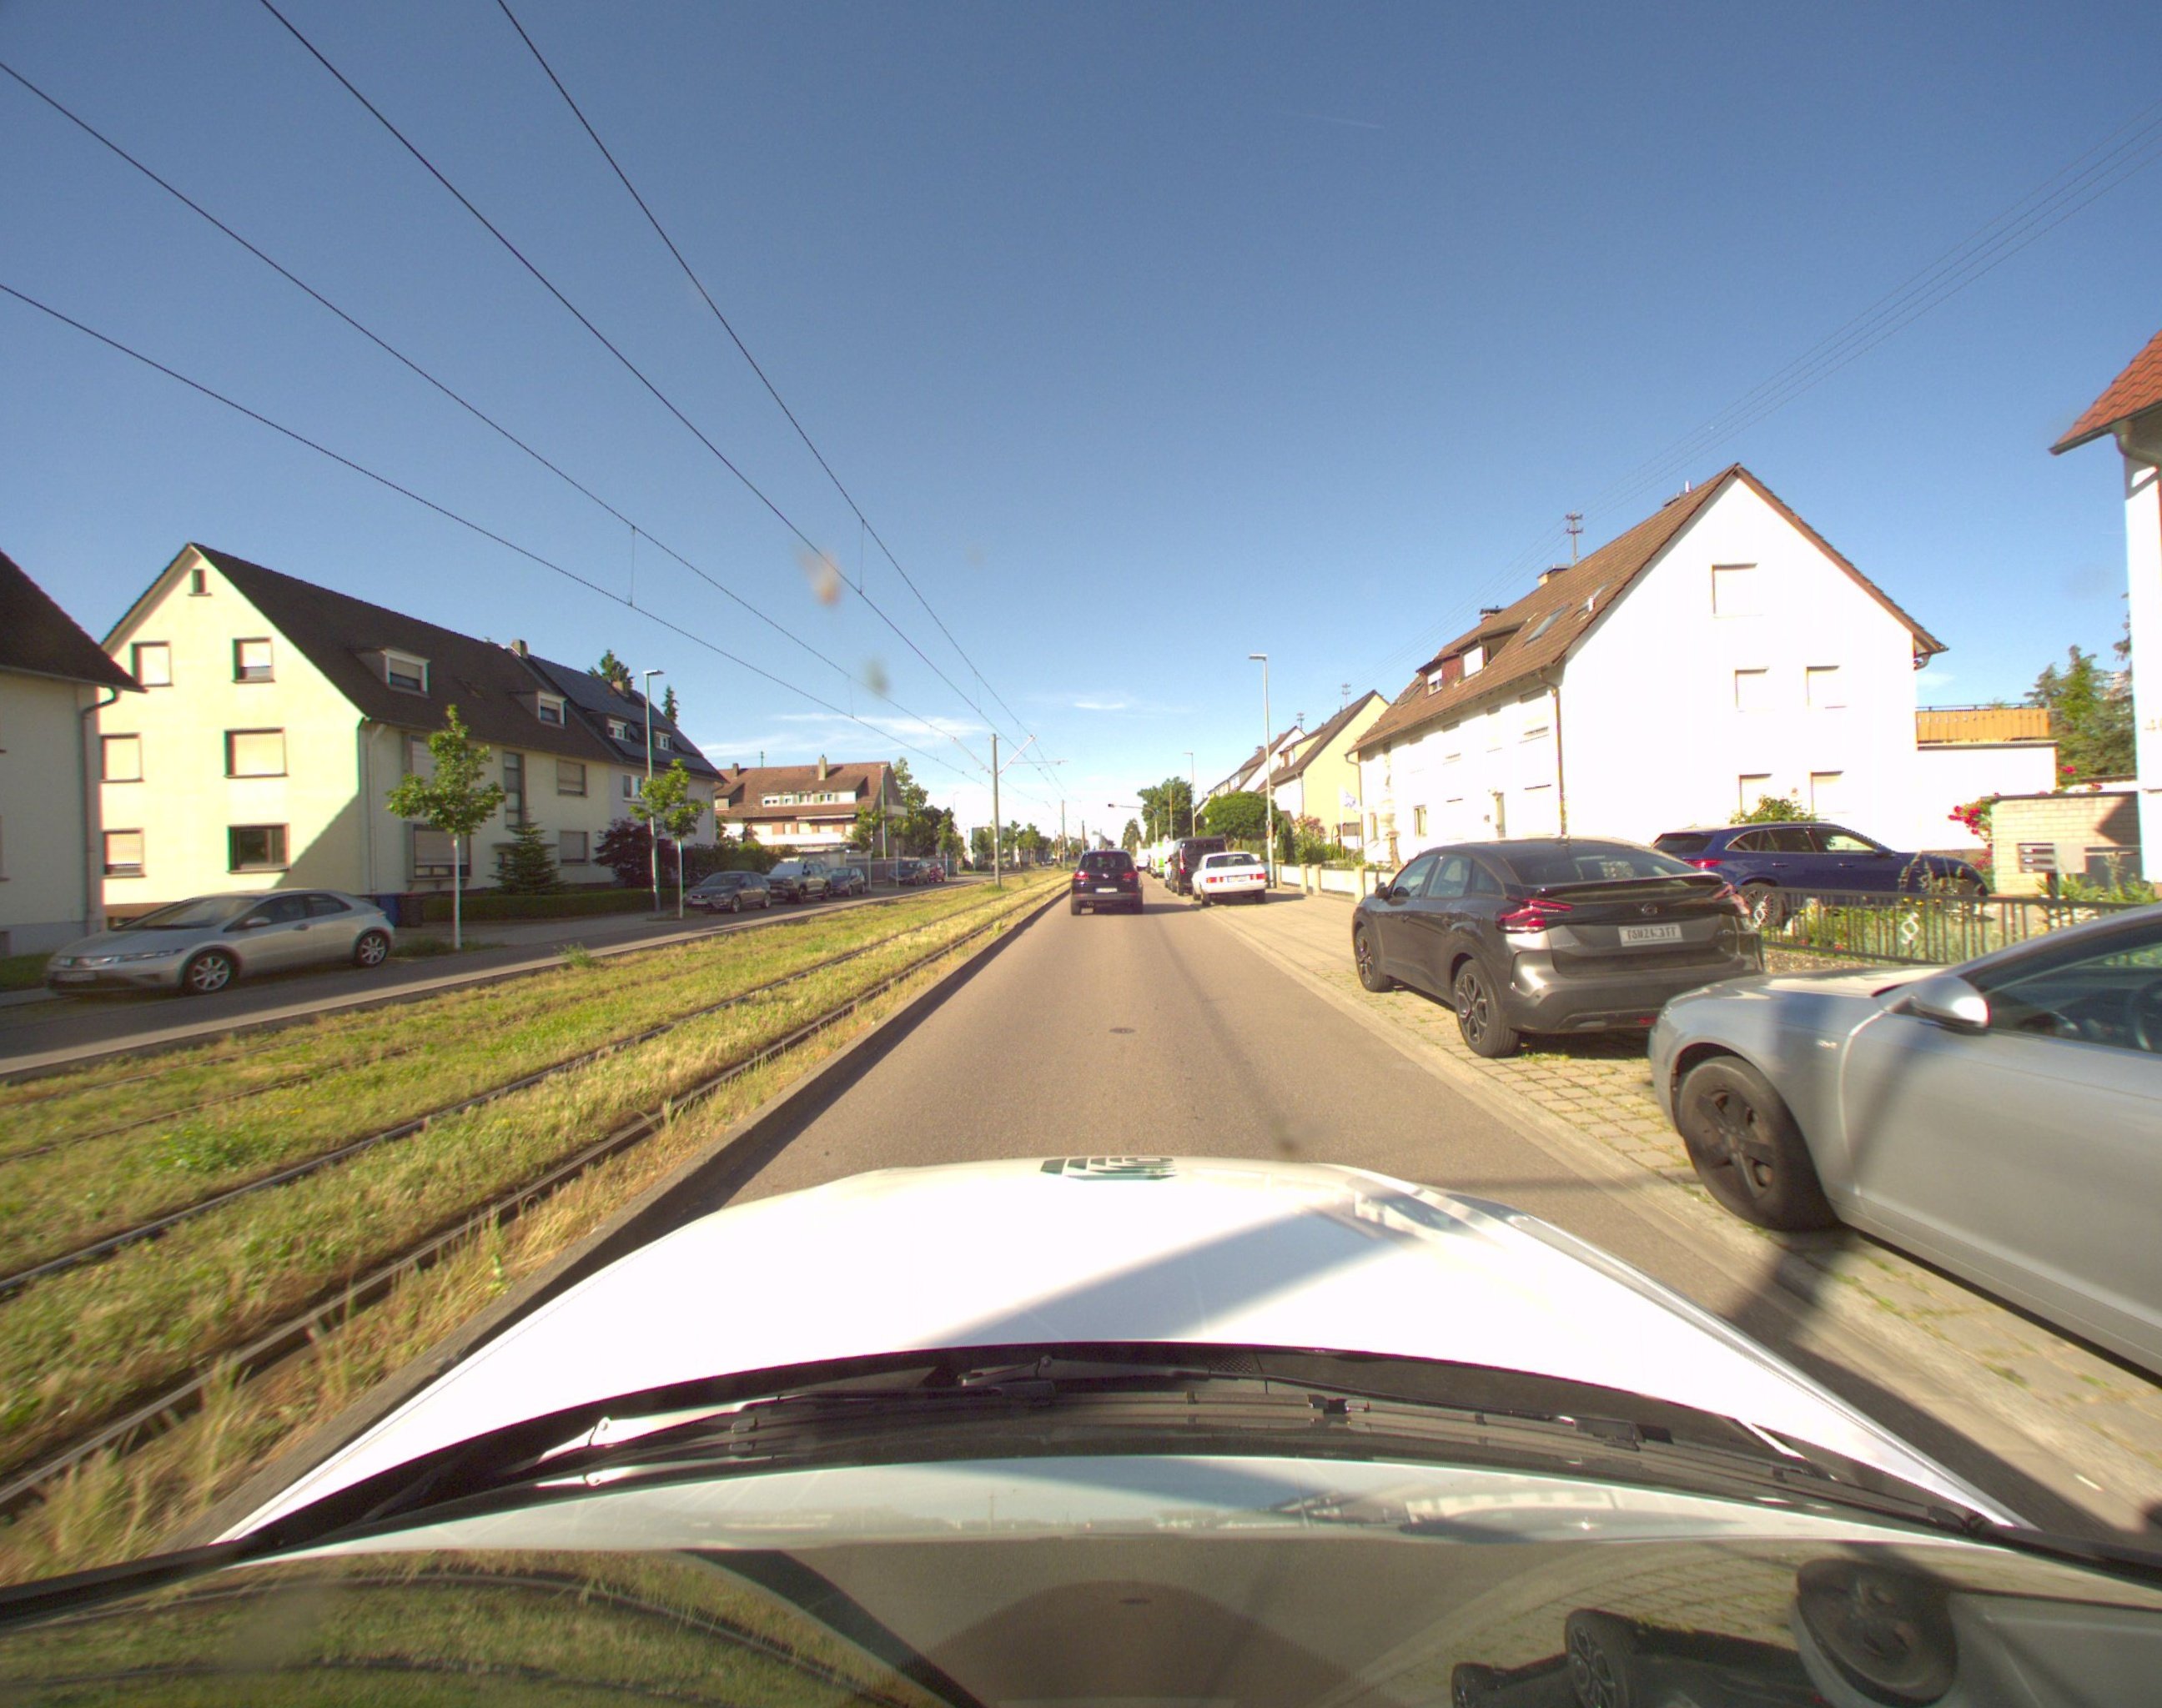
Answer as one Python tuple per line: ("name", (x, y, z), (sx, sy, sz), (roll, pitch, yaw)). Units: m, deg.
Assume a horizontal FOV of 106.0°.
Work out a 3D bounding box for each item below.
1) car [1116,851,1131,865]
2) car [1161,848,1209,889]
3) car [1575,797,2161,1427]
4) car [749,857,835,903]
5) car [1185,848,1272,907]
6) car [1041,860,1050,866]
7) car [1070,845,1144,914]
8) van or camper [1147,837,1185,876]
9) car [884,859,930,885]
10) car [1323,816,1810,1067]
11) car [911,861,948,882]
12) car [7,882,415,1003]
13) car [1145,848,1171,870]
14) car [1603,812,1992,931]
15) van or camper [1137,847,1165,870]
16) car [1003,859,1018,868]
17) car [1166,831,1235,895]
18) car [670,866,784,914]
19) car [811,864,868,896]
("car", (5.877, 0.555, 113.593), (1.623, 1.828, 4.127), (-2, 0, -2))
("car", (4.616, 0.629, 36.692), (1.719, 1.645, 4.321), (-3, 0, 2))
("car", (3.332, 0.562, 1.744), (1.742, 1.447, 4.700), (-3, 1, 1))
("car", (-12.263, 1.048, 34.921), (1.738, 1.823, 4.844), (0, 0, 3))
("car", (4.242, 0.609, 24.274), (1.845, 1.443, 5.618), (-4, 0, 4))
("car", (-8.818, 2.348, 203.651), (1.680, 1.389, 4.392), (-4, -1, 4))
("car", (0.658, 0.637, 21.761), (1.769, 1.670, 4.000), (0, -1, 1))
("van or camper", (5.515, 0.173, 53.412), (1.985, 2.271, 6.309), (-3, -1, 3))
("car", (-11.510, 1.158, 54.180), (1.812, 1.684, 4.849), (0, 0, 3))
("car", (3.703, 0.545, 7.411), (1.770, 1.498, 4.732), (-2, 0, 3))
("car", (-11.154, 1.280, 60.170), (1.688, 1.405, 4.082), (-2, 0, 3))
("car", (-13.299, 1.242, 12.981), (1.683, 1.475, 4.443), (0, -1, 0))
("car", (5.988, 0.402, 63.801), (1.741, 1.494, 5.158), (-3, -1, 3))
("car", (11.373, 0.266, 13.211), (4.402, 1.655, 2.195), (-1, -1, -2))
("van or camper", (6.432, 0.423, 74.214), (2.015, 1.956, 5.310), (-2, 0, 10))
("car", (-12.159, 1.660, 140.265), (1.801, 1.461, 4.326), (0, -1, 7))
("car", (4.419, 0.326, 30.848), (1.952, 2.144, 5.338), (-3, -1, 2))
("car", (-12.572, 1.233, 29.297), (1.953, 1.540, 4.559), (0, -1, 2))
("car", (-12.106, 1.292, 41.091), (1.670, 1.491, 4.049), (0, 0, 0))
